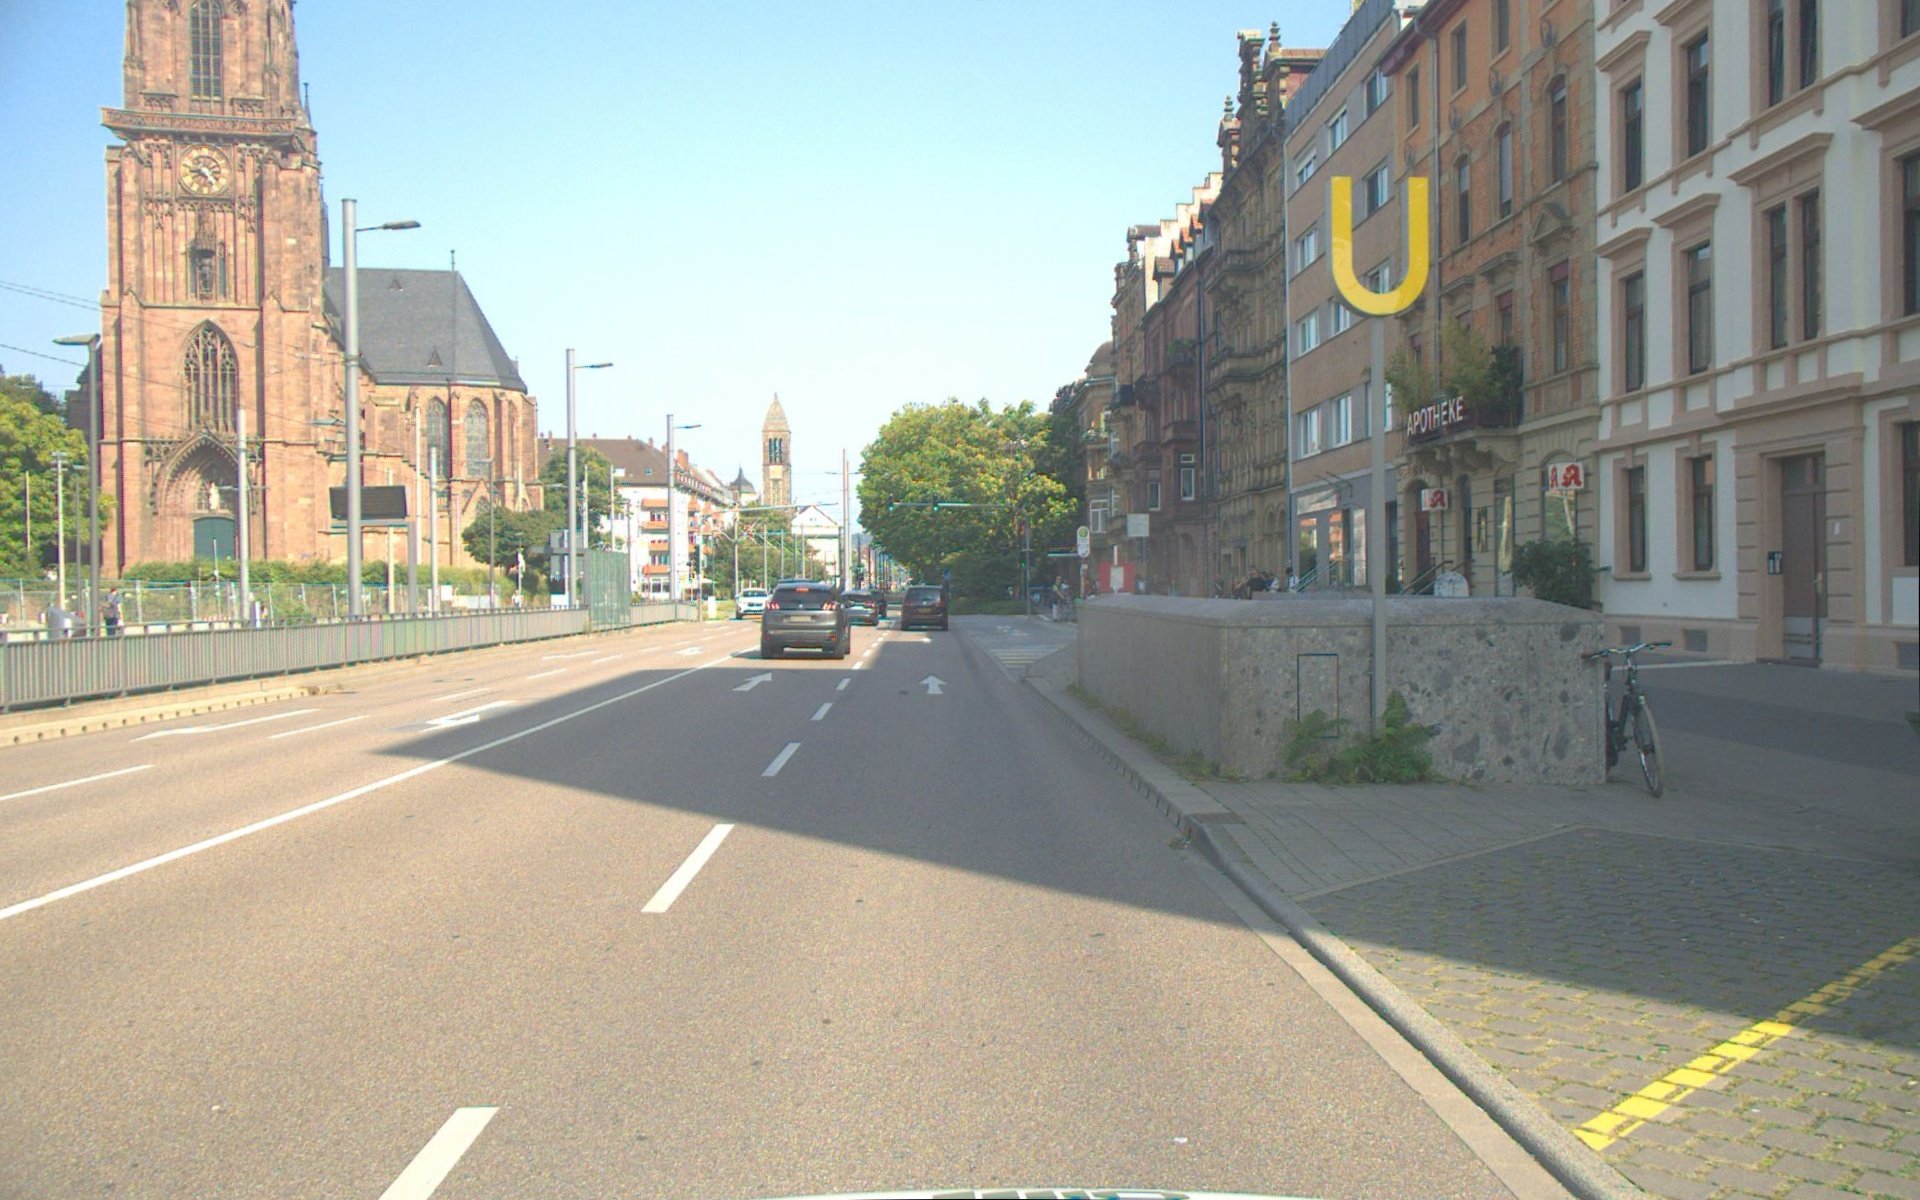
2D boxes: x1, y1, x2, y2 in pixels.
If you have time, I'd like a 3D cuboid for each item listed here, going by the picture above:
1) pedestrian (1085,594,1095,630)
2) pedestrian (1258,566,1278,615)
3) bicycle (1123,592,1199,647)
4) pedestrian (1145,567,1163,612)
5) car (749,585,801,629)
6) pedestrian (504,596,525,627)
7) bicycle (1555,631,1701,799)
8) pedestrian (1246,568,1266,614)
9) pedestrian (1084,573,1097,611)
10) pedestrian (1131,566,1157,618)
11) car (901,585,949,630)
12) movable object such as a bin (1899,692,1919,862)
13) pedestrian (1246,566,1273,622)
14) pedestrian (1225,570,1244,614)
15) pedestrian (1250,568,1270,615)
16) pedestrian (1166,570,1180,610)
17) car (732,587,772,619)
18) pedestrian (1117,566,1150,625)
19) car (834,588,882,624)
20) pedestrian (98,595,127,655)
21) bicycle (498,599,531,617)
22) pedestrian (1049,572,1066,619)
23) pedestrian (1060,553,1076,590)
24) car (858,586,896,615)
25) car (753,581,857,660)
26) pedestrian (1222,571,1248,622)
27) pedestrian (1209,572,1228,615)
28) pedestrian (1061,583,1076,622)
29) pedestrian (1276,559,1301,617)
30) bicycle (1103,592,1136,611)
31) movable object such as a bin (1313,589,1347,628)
[{"bbox_3d":[4.721,0.439,59.960,0.270,1.296,0.447,-1,0,-8],"label":"pedestrian"},{"bbox_3d":[11.216,-0.344,60.257,0.591,1.761,0.510,-1,0,-5],"label":"pedestrian"},{"bbox_3d":[4.410,0.423,36.377,1.599,1.168,0.601,-1,0,0],"label":"bicycle"},{"bbox_3d":[8.107,-0.430,69.115,0.604,1.835,1.071,-1,0,0],"label":"pedestrian"},{"bbox_3d":[-8.691,0.284,77.981,1.953,1.937,4.715,-2,1,-2],"label":"car"},{"bbox_3d":[-24.675,0.634,91.574,0.897,1.709,0.603,-1,0,8],"label":"pedestrian"},{"bbox_3d":[5.146,0.850,12.844,0.375,1.154,1.790,-1,1,-1],"label":"bicycle"},{"bbox_3d":[11.106,-0.331,62.076,0.591,1.721,0.586,-1,0,-5],"label":"pedestrian"},{"bbox_3d":[6.072,-0.361,76.779,0.471,1.731,0.702,-1,0,-5],"label":"pedestrian"},{"bbox_3d":[6.328,-0.266,56.831,0.735,1.759,0.800,-1,0,-5],"label":"pedestrian"},{"bbox_3d":[-1.339,0.266,63.995,1.794,1.649,4.356,1,1,-1],"label":"car"},{"bbox_3d":[5.516,0.979,9.016,0.479,0.919,0.537,-1,0,1],"label":"movable object such as a bin"},{"bbox_3d":[9.861,-0.187,54.503,0.705,1.818,0.856,-1,0,0],"label":"pedestrian"},{"bbox_3d":[10.621,-0.306,64.089,0.591,1.683,0.586,-1,0,-5],"label":"pedestrian"},{"bbox_3d":[11.137,-0.319,61.350,0.591,1.721,0.586,-1,0,-5],"label":"pedestrian"},{"bbox_3d":[8.901,-0.420,69.132,0.476,1.638,0.812,-1,0,0],"label":"pedestrian"},{"bbox_3d":[-11.219,0.143,89.519,1.678,1.639,4.503,-2,1,-2],"label":"car"},{"bbox_3d":[5.503,-0.142,52.496,0.907,1.863,0.800,-1,0,-5],"label":"pedestrian"},{"bbox_3d":[-4.280,0.226,69.976,1.826,1.449,4.356,1,1,-1],"label":"car"},{"bbox_3d":[-24.854,0.737,48.517,0.507,1.730,0.664,-1,0,-2],"label":"pedestrian"},{"bbox_3d":[-24.677,0.438,91.569,1.721,0.995,0.480,-1,0,8],"label":"bicycle"},{"bbox_3d":[3.700,-0.182,62.815,0.554,1.759,0.745,-1,0,-5],"label":"pedestrian"},{"bbox_3d":[5.030,-1.343,77.389,0.676,1.693,0.619,-1,0,-1],"label":"pedestrian"},{"bbox_3d":[-4.298,0.013,85.894,1.826,1.449,4.356,1,1,-1],"label":"car"},{"bbox_3d":[-3.384,0.407,36.888,1.953,1.649,4.356,1,1,-1],"label":"car"},{"bbox_3d":[9.071,-0.124,54.601,0.705,1.638,0.856,-1,0,0],"label":"pedestrian"},{"bbox_3d":[10.505,-0.261,67.154,0.617,1.749,0.690,-1,0,-2],"label":"pedestrian"},{"bbox_3d":[4.586,0.100,70.175,0.517,1.640,0.702,-1,0,-5],"label":"pedestrian"},{"bbox_3d":[10.794,-0.396,54.386,0.591,1.863,0.742,-1,0,-5],"label":"pedestrian"},{"bbox_3d":[9.370,0.094,97.252,1.891,1.066,0.499,-1,0,-7],"label":"bicycle"},{"bbox_3d":[10.820,0.243,48.348,0.725,1.099,0.666,-1,1,-18],"label":"movable object such as a bin"}]
